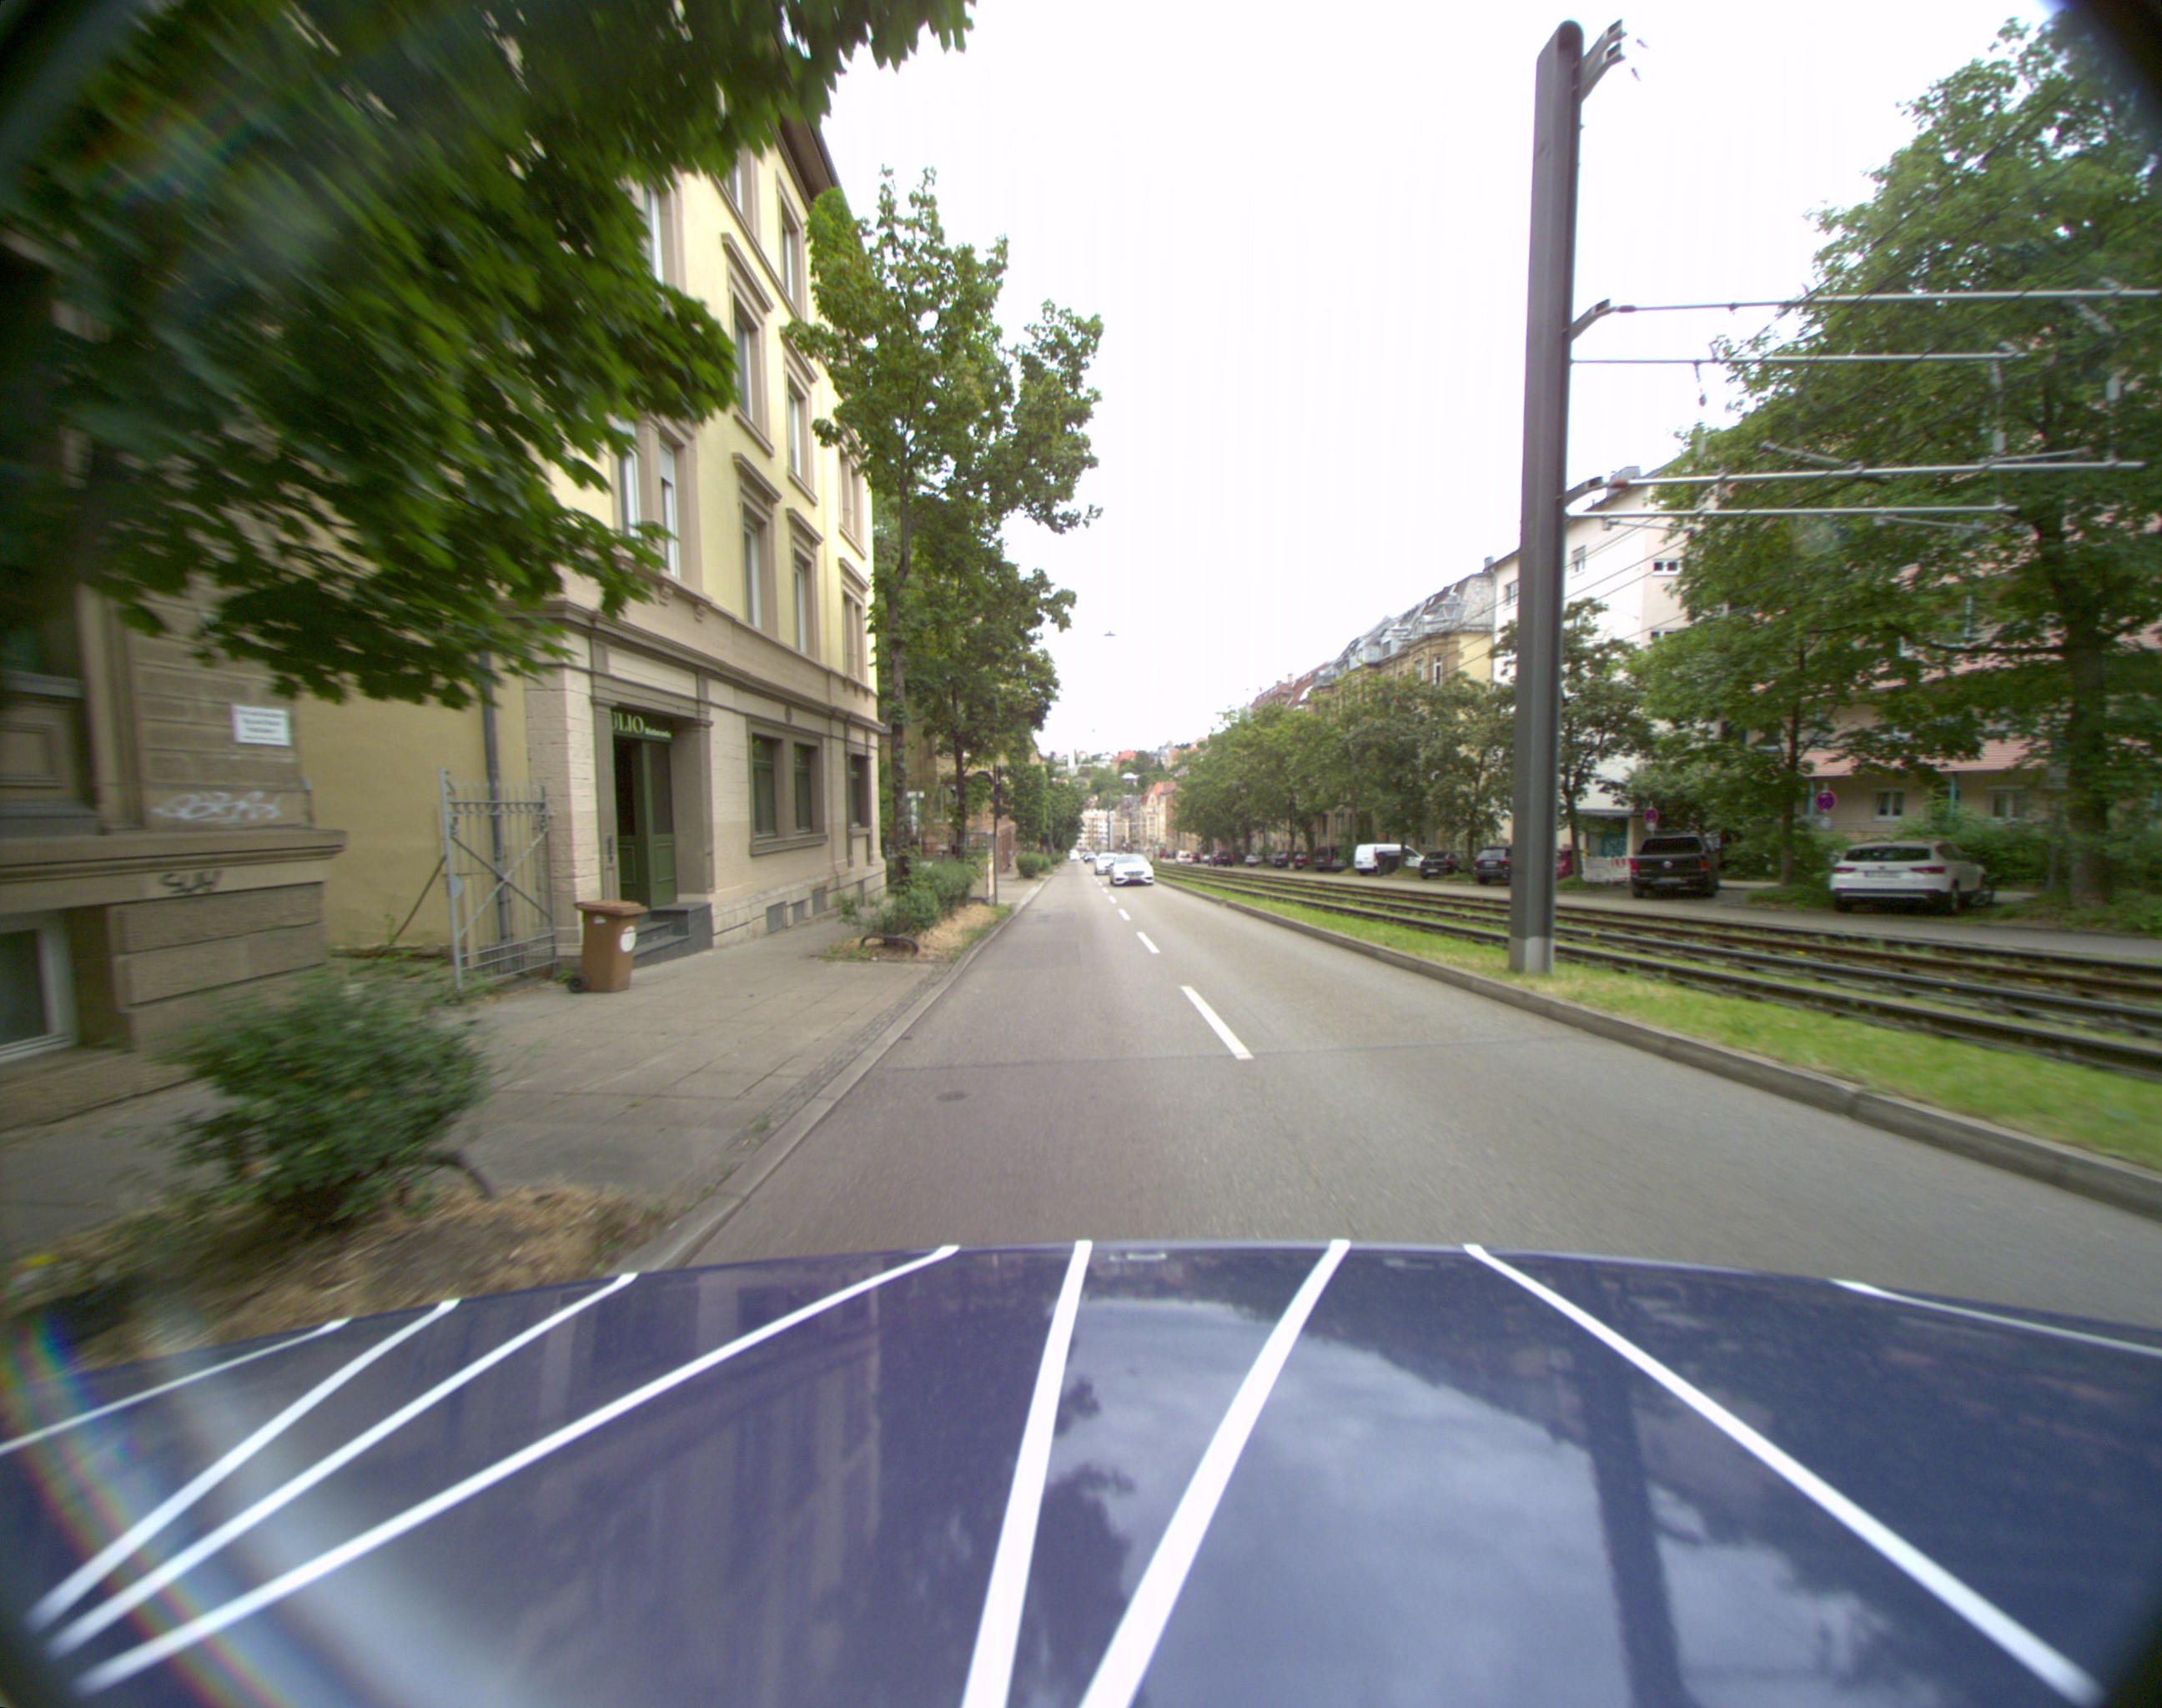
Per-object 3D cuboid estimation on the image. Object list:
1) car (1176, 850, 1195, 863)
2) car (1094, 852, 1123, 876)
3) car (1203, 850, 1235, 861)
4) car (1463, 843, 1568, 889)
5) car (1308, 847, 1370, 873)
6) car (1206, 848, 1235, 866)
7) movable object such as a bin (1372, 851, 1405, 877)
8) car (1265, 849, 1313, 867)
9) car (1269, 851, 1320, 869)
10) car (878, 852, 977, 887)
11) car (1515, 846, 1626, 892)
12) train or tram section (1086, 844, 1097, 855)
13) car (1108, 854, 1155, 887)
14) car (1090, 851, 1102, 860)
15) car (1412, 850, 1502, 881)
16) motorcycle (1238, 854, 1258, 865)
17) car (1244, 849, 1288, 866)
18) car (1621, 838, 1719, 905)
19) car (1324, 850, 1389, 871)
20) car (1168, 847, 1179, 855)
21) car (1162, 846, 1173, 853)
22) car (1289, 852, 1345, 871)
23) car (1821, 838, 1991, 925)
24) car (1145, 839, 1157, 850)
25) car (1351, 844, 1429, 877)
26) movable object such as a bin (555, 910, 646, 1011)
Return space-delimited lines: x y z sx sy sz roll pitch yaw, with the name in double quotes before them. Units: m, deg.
"car" 11.937 0.323 86.700 1.592 1.427 3.412 1 0 -1
"car" 1.913 0.687 53.209 1.806 1.542 4.000 -2 0 -1
"car" 18.322 0.164 100.871 4.006 1.414 1.782 -1 1 -32
"car" 18.421 0.472 32.180 4.614 1.672 1.931 -3 1 -33
"car" 18.264 0.404 53.725 4.198 1.757 1.867 -1 0 -30
"car" 13.610 0.310 74.514 1.922 1.640 4.607 1 0 -1
"movable object such as a bin" 16.921 0.549 41.826 1.279 1.393 1.095 -2 1 -16
"car" 18.879 0.328 69.014 4.199 1.564 1.867 -1 0 -33
"car" 18.348 0.494 65.277 4.198 1.427 1.867 -1 0 -30
"car" -6.862 0.676 34.309 4.098 1.371 1.811 2 0 -2
"car" 19.283 0.555 29.882 4.614 1.539 1.931 -3 1 -33
"train or tram section" 3.558 -1.554 253.773 2.968 3.456 14.407 0 -1 -2
"car" 2.281 0.740 34.953 1.806 1.391 4.000 -2 0 -1
"car" 2.118 0.228 108.977 1.562 1.330 4.000 -1 0 0
"car" 18.794 0.557 37.913 4.614 1.337 1.931 -3 1 -33
"motorcycle" 17.284 0.605 78.544 2.209 1.052 0.623 -2 2 -34
"car" 17.953 0.337 73.686 4.161 1.461 1.781 -2 2 -32
"car" 18.222 0.473 23.427 1.931 1.787 4.616 -2 1 43
"car" 18.467 0.440 50.906 4.198 1.331 1.867 -1 0 -30
"car" 18.546 -0.612 152.514 1.785 1.647 4.242 1 0 0
"car" 19.906 -1.000 175.112 1.885 1.640 4.470 1 0 1
"car" 18.578 0.558 59.721 4.198 1.427 1.867 -1 0 -30
"car" 18.830 0.537 17.294 4.615 1.608 1.931 -3 1 -34
"car" 18.314 -2.398 199.771 2.398 2.684 6.517 1 0 0
"car" 18.319 0.362 45.076 4.196 1.826 1.868 -1 0 -23
"movable object such as a bin" -4.890 1.067 7.748 0.562 0.928 0.513 3 1 6
